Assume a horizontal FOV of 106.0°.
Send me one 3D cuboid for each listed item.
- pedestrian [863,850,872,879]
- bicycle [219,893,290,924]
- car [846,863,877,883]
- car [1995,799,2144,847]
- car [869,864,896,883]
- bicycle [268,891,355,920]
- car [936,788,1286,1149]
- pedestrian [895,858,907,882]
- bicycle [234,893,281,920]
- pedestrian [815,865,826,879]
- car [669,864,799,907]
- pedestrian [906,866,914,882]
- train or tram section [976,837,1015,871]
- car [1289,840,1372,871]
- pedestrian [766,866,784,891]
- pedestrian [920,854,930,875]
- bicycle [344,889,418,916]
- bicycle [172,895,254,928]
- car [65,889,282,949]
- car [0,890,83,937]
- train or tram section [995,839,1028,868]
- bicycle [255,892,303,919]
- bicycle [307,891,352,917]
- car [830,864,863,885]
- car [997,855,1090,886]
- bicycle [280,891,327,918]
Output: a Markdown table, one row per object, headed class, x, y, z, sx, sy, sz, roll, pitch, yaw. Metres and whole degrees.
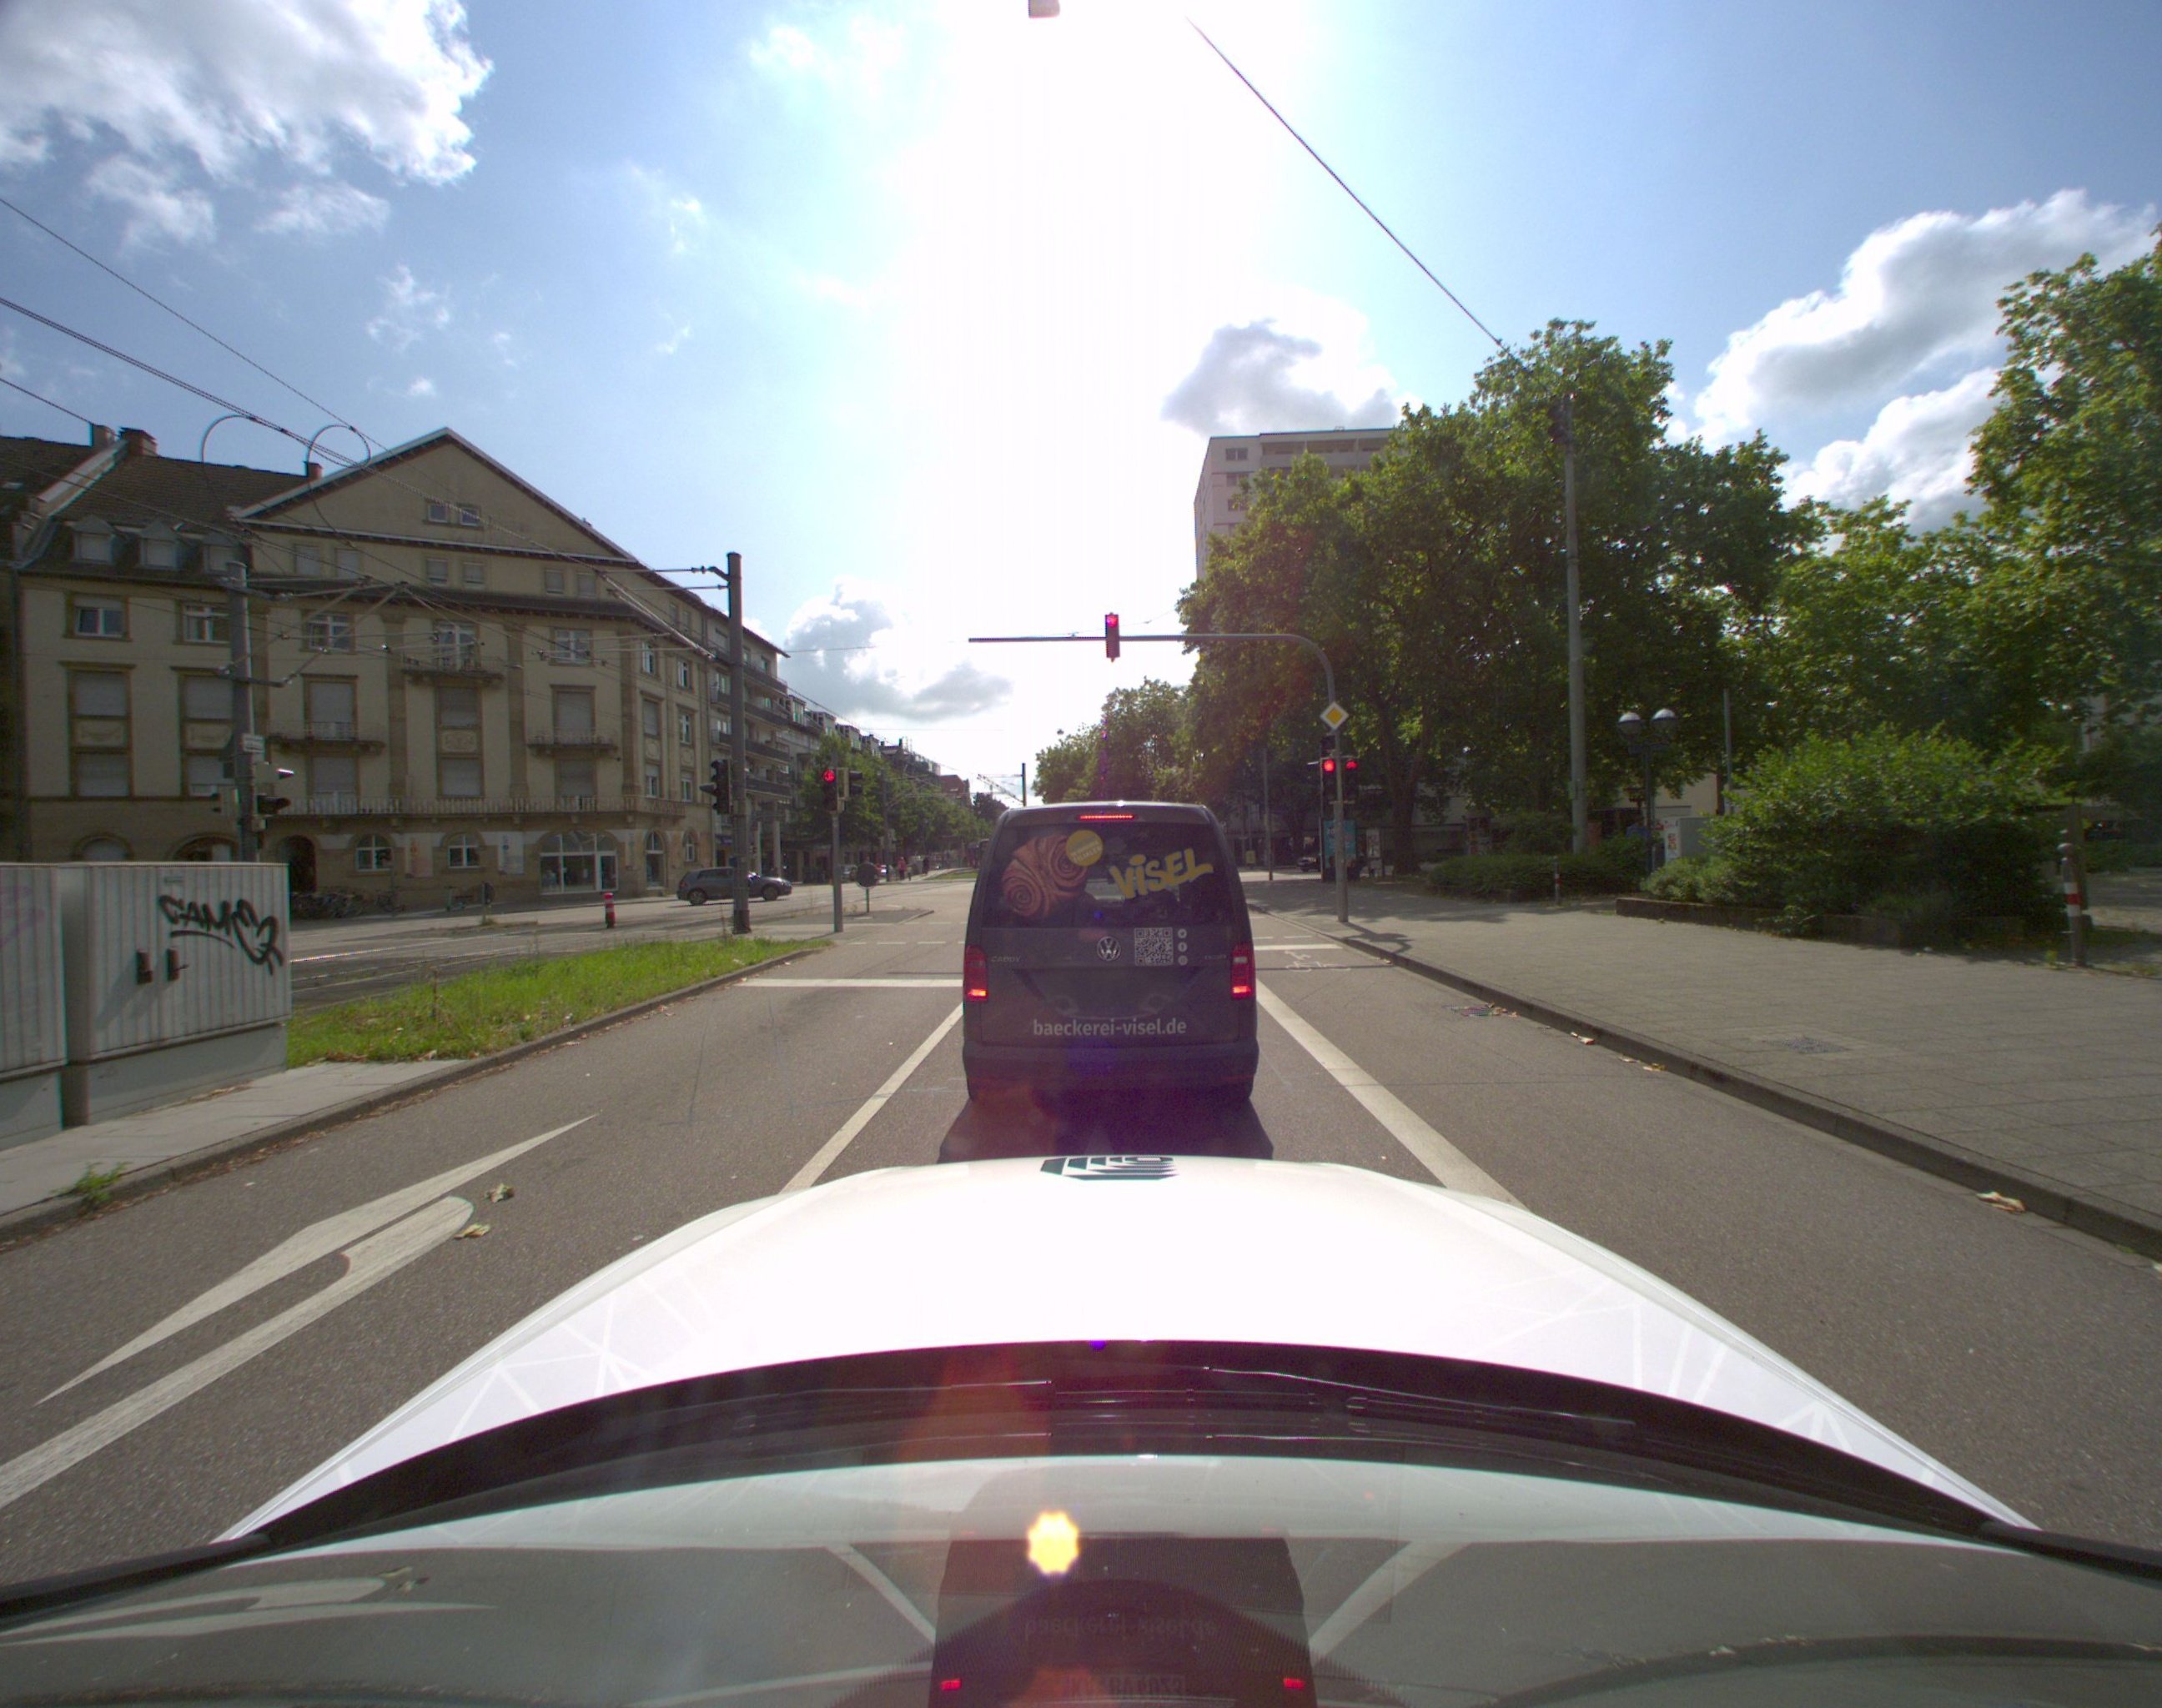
| class | x | y | z | sx | sy | sz | roll | pitch | yaw |
| --- | --- | --- | --- | --- | --- | --- | --- | --- | --- |
| pedestrian | -14.775 | 0.729 | 56.291 | 0.476 | 2.013 | 0.419 | -2 | 0 | -4 |
| bicycle | -34.062 | 2.227 | 33.587 | 1.985 | 1.114 | 0.482 | -2 | 0 | -35 |
| car | -23.420 | 1.991 | 87.081 | 1.986 | 2.013 | 4.002 | -2 | 0 | 2 |
| car | 46.895 | -1.453 | 38.728 | 4.396 | 2.013 | 2.079 | -2 | 0 | 3 |
| car | -23.305 | 2.264 | 95.590 | 1.986 | 2.013 | 4.002 | -2 | 0 | 2 |
| bicycle | -33.002 | 2.210 | 34.981 | 2.571 | 1.053 | 0.676 | -2 | 0 | -26 |
| car | 0.216 | 0.577 | 5.857 | 1.743 | 1.808 | 3.476 | -1 | 0 | 2 |
| pedestrian | -13.284 | 1.172 | 60.196 | 0.656 | 1.784 | 0.661 | -2 | 0 | 2 |
| bicycle | -36.158 | 2.273 | 35.802 | 0.744 | 1.053 | 2.343 | -2 | 0 | -27 |
| pedestrian | -23.266 | 1.602 | 72.743 | 0.751 | 1.211 | 0.704 | -2 | 0 | 2 |
| car | -13.629 | 1.210 | 32.244 | 4.574 | 1.436 | 1.694 | -2 | 0 | -22 |
| pedestrian | -12.636 | 1.454 | 60.142 | 0.462 | 1.144 | 0.435 | -2 | 0 | 2 |
| train or tram section | -9.129 | 0.015 | 88.736 | 2.232 | 3.331 | 12.978 | -2 | 0 | 2 |
| car | 14.826 | 0.085 | 48.413 | 4.497 | 1.601 | 1.850 | -2 | 0 | -22 |
| pedestrian | -19.648 | 1.564 | 52.291 | 0.865 | 1.596 | 0.686 | -2 | 0 | -34 |
| pedestrian | -12.663 | 0.850 | 66.127 | 0.656 | 1.685 | 0.656 | -2 | 0 | 2 |
| bicycle | -31.993 | 2.186 | 37.280 | 0.797 | 1.053 | 2.576 | -2 | 0 | 14 |
| bicycle | -36.440 | 2.405 | 34.169 | 3.283 | 1.253 | 1.003 | -2 | 0 | 18 |
| car | -29.036 | 2.026 | 26.238 | 4.330 | 1.546 | 1.619 | -2 | 0 | -22 |
| car | -41.521 | 2.324 | 32.126 | 3.950 | 1.639 | 1.813 | -2 | 0 | 26 |
| train or tram section | -8.555 | -0.104 | 102.194 | 2.232 | 3.331 | 14.021 | -2 | 0 | 2 |
| bicycle | -35.226 | 2.254 | 35.816 | 0.744 | 1.053 | 2.543 | -2 | 0 | -27 |
| bicycle | -33.703 | 2.226 | 36.549 | 0.808 | 1.053 | 2.543 | -2 | 0 | -27 |
| car | -23.646 | 2.054 | 82.331 | 1.986 | 2.013 | 4.002 | -2 | 0 | 2 |
| car | -1.943 | 0.843 | 42.252 | 4.499 | 1.390 | 1.694 | -2 | 0 | -22 |
| bicycle | -34.471 | 2.241 | 36.155 | 0.808 | 1.053 | 2.543 | -2 | 0 | -27 |
